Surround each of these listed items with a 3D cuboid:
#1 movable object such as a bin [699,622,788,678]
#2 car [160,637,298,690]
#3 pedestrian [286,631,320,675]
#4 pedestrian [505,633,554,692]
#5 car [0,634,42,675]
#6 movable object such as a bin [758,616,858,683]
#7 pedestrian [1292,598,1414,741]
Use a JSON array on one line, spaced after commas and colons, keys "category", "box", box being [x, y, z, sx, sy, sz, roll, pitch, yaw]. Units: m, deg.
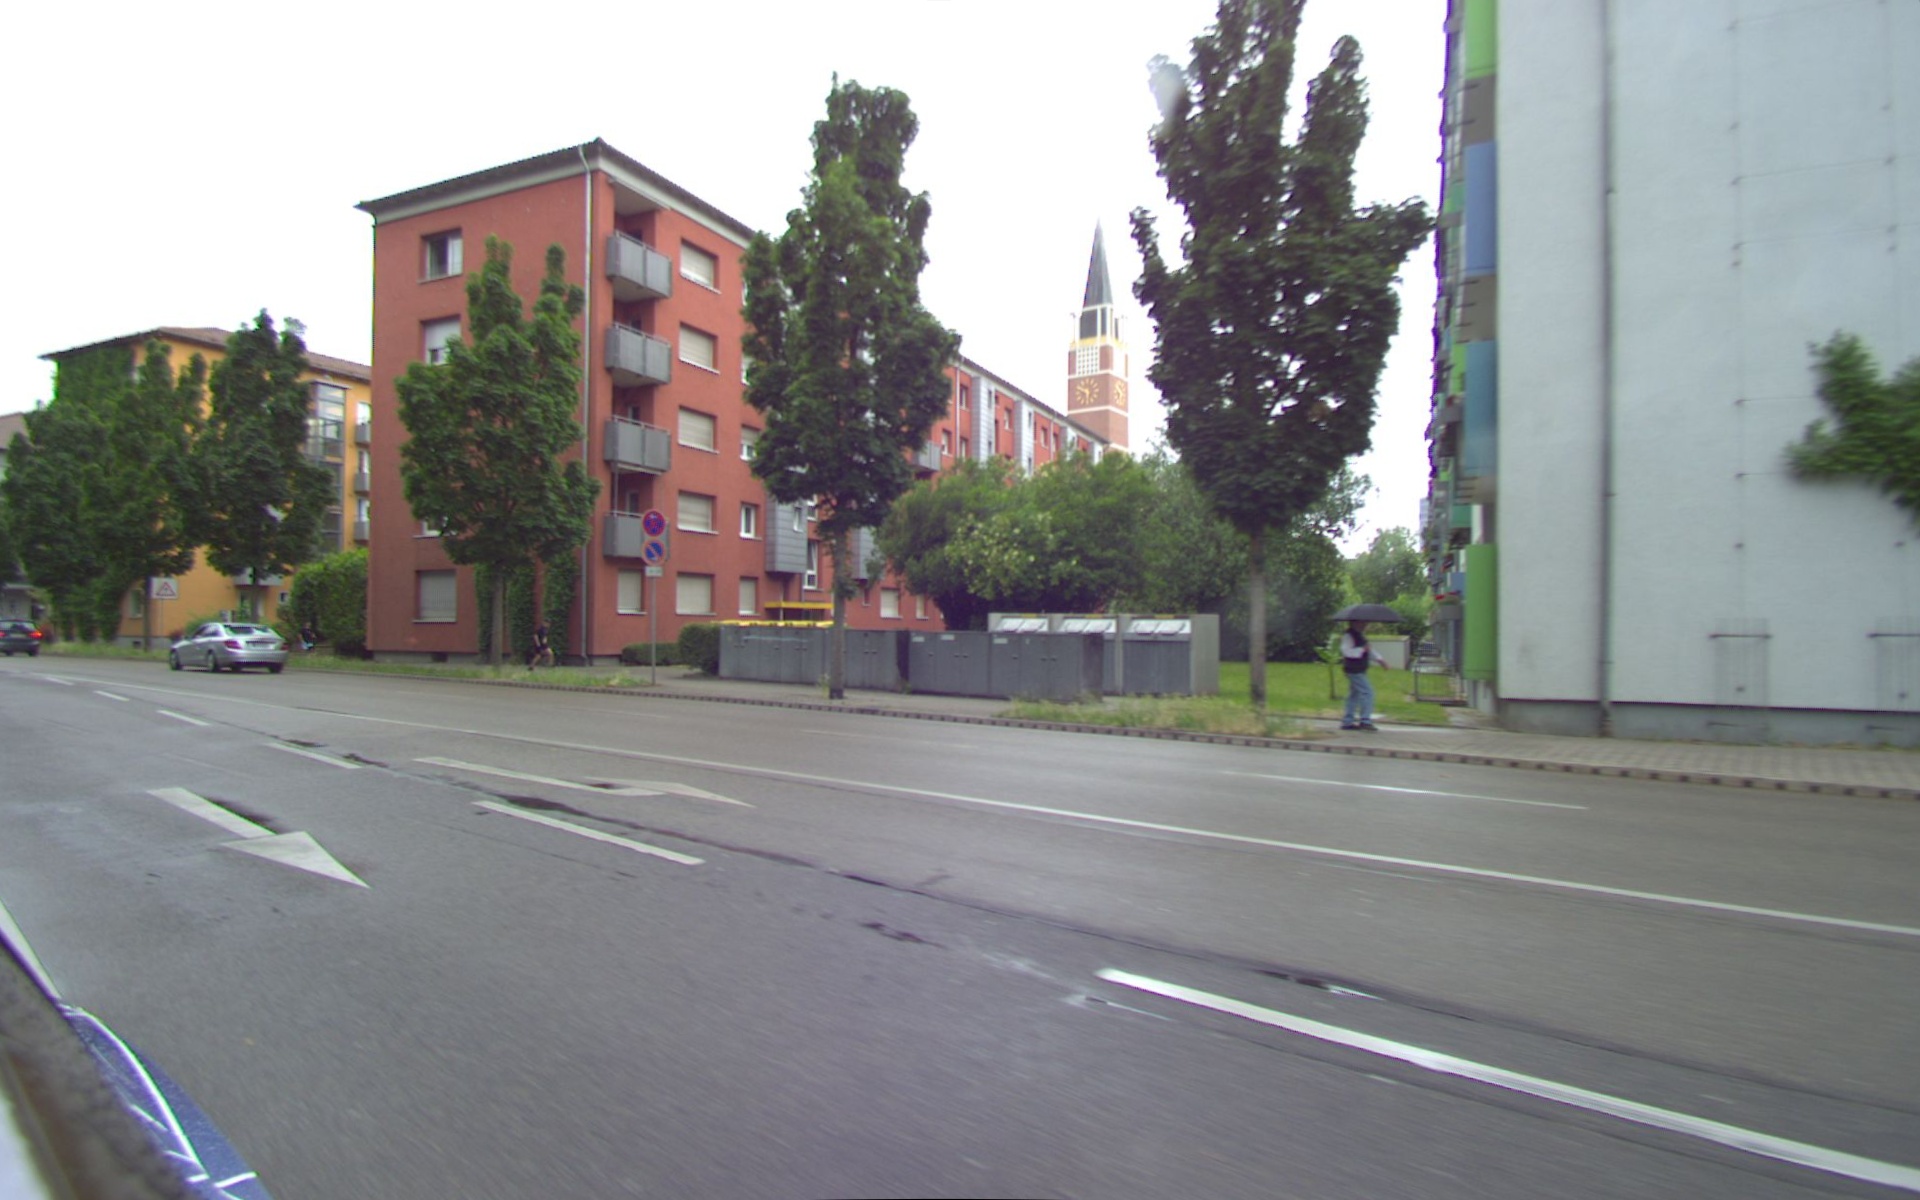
[{"category": "movable object such as a bin", "box": [-5.347, 1.216, 24.973, 1.961, 1.341, 1.147, -1, -2, 35]}, {"category": "car", "box": [-21.180, 1.794, 29.258, 4.618, 1.401, 1.857, -1, -4, 36]}, {"category": "pedestrian", "box": [-22.401, 1.800, 34.521, 0.833, 1.460, 0.666, -1, -3, 31]}, {"category": "pedestrian", "box": [-11.399, 1.649, 26.815, 1.066, 1.529, 0.687, -1, -3, 32]}, {"category": "car", "box": [-39.617, 2.201, 41.473, 4.452, 1.614, 1.858, -1, -4, 34]}, {"category": "movable object such as a bin", "box": [-3.571, 1.147, 23.722, 2.082, 1.496, 1.205, -1, -2, 35]}, {"category": "pedestrian", "box": [5.311, 0.906, 13.672, 1.261, 1.818, 1.124, -2, -3, 37]}]
